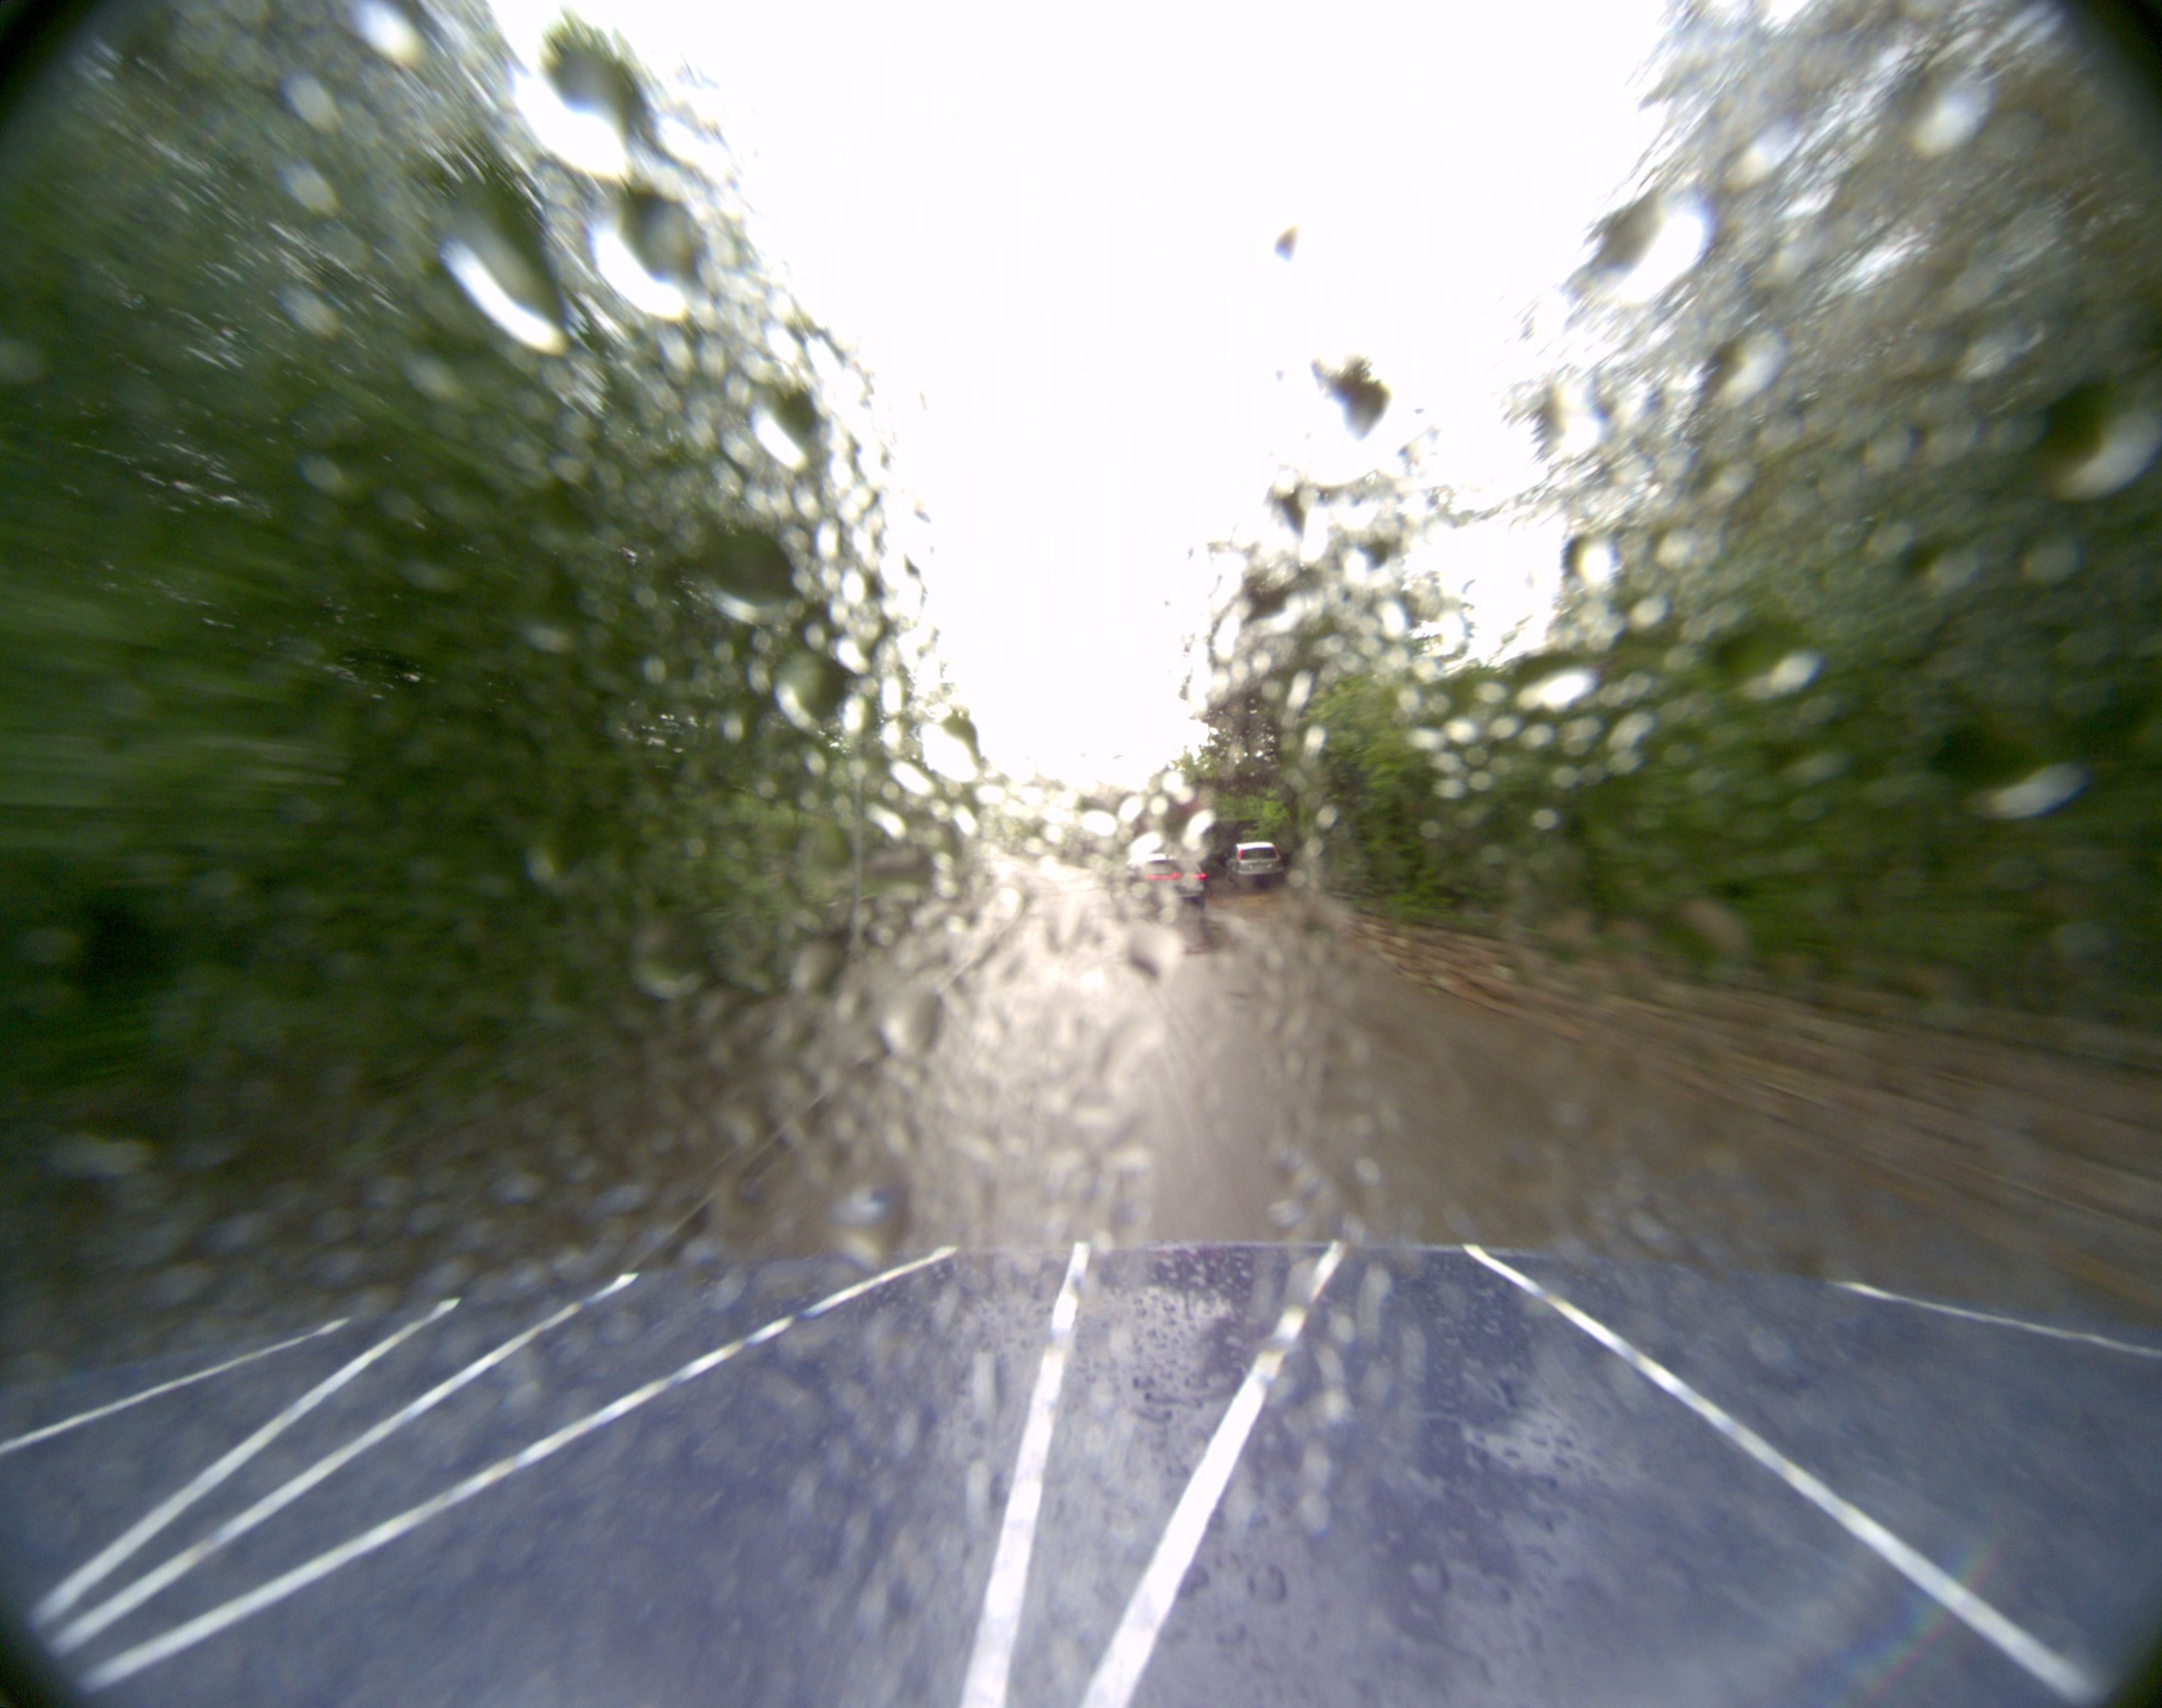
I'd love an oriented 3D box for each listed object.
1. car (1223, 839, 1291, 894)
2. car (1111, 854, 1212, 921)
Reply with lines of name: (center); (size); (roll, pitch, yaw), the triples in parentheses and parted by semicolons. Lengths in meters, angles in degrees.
car: (6.026, 0.369, 26.393); (1.788, 1.518, 3.656); (-4, 3, 6)
car: (2.076, 0.829, 20.872); (1.894, 1.514, 4.418); (-2, 1, -5)
